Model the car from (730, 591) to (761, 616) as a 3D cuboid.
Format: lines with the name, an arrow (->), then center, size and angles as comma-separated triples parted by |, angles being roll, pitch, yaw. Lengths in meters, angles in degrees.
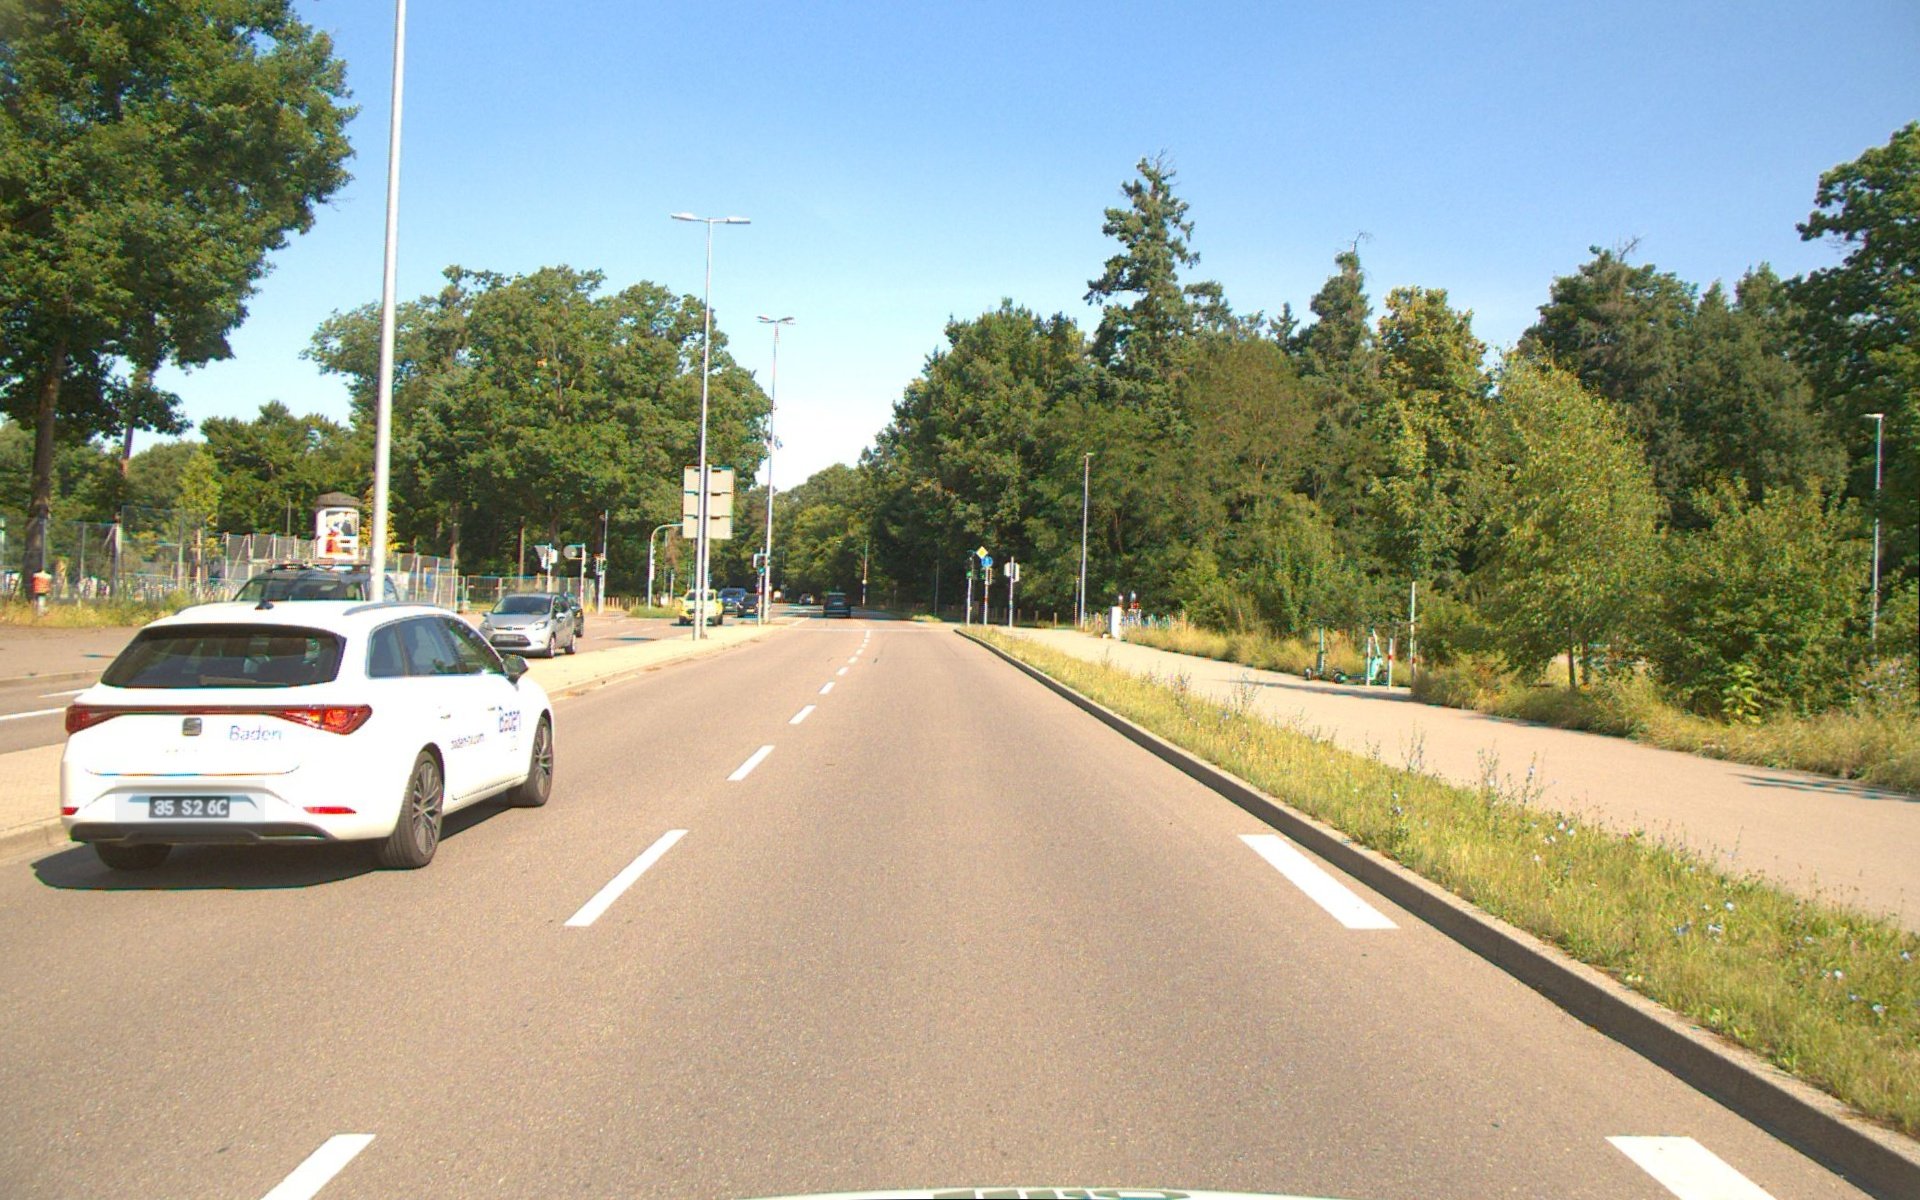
car -> -13.670, 0.235, 105.625 | 1.784, 1.489, 3.996 | 2, 0, -5

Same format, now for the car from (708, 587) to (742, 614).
car -> -16.912, 0.033, 119.223 | 1.890, 1.803, 3.999 | 2, 0, -1

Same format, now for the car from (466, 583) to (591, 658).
car -> -10.041, 0.448, 38.778 | 1.870, 1.612, 3.999 | 2, 0, -1

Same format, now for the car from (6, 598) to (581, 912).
car -> -3.720, 0.739, 10.256 | 1.690, 1.451, 4.719 | 1, 0, -1

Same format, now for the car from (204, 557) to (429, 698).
car -> -9.862, 0.384, 25.754 | 1.804, 1.966, 4.627 | 1, 0, -2

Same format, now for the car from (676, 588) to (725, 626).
car -> -12.003, 0.296, 76.648 | 1.809, 1.646, 3.997 | 2, 0, -4

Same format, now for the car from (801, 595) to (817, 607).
car -> -19.323, 0.156, 211.604 | 1.903, 1.445, 4.288 | 2, 0, -6

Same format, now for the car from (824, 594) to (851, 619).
car -> -8.046, 0.394, 108.628 | 1.654, 1.571, 4.145 | 1, 0, -4
